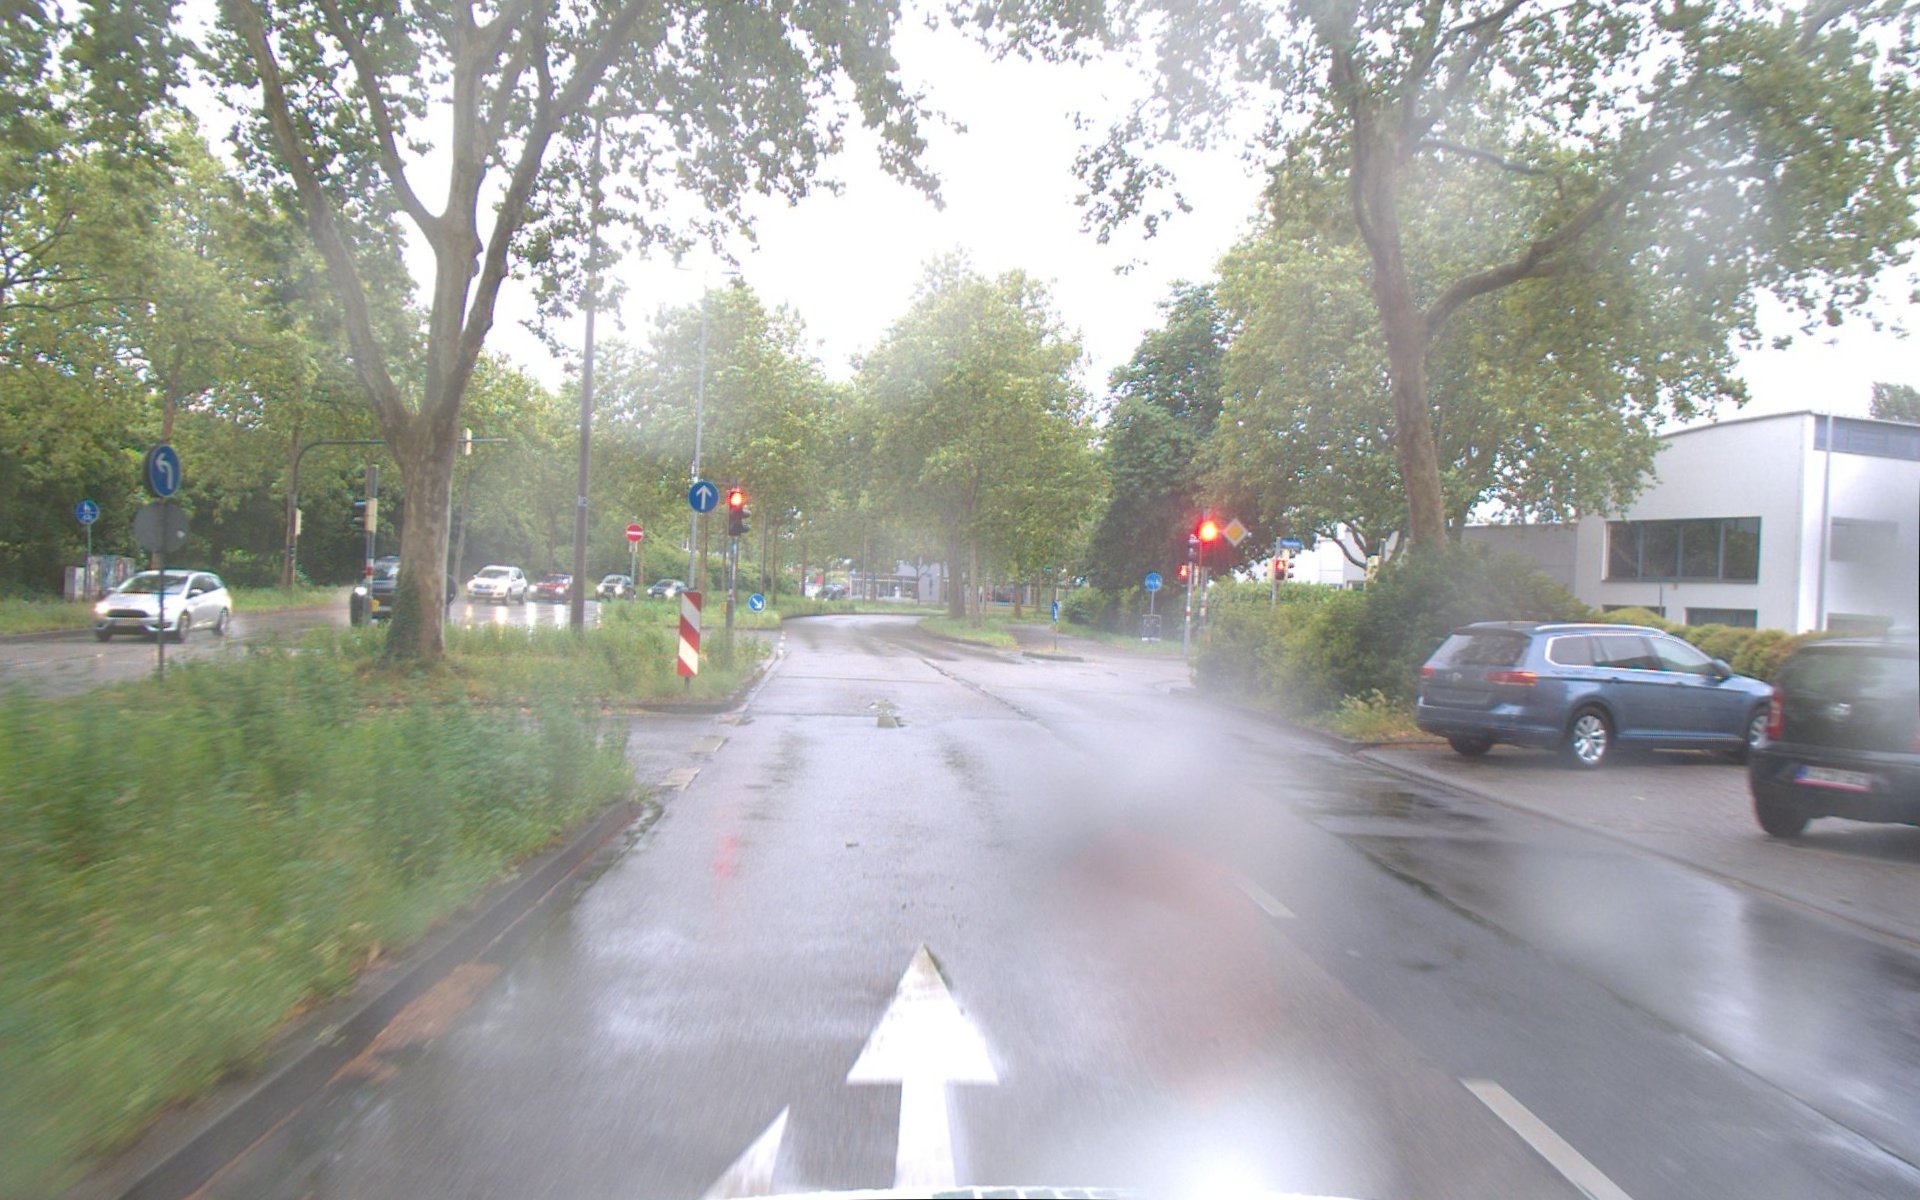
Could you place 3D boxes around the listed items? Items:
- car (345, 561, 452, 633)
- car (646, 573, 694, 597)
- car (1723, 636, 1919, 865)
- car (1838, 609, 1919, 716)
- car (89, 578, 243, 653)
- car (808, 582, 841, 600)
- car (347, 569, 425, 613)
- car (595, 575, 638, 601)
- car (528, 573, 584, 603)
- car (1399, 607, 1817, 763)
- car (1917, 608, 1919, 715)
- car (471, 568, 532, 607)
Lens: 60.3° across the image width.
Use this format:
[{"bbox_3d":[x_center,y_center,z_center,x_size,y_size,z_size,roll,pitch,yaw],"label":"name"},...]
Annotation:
[{"bbox_3d":[-15.837,-0.102,46.935,1.710,1.874,5.114,2,0,-6],"label":"car"},{"bbox_3d":[-18.365,-0.942,104.863,1.553,1.396,4.266,2,0,10],"label":"car"},{"bbox_3d":[7.558,1.053,12.211,3.643,1.441,1.731,2,0,-31],"label":"car"},{"bbox_3d":[18.056,1.135,29.019,4.451,1.788,1.778,2,0,-8],"label":"car"},{"bbox_3d":[-17.454,0.303,36.559,1.710,1.502,4.229,2,0,-7],"label":"car"},{"bbox_3d":[-17.183,-1.118,209.932,3.919,2.049,1.993,3,-1,-14],"label":"car"},{"bbox_3d":[-21.115,-0.342,61.007,1.709,1.502,4.230,2,0,-5],"label":"car"},{"bbox_3d":[-19.837,-0.698,95.638,1.554,1.396,3.335,2,0,4],"label":"car"},{"bbox_3d":[-20.690,-0.601,84.817,1.707,1.432,4.444,2,0,0],"label":"car"},{"bbox_3d":[7.088,0.907,18.008,4.428,1.484,1.734,2,0,-27],"label":"car"},{"bbox_3d":[17.742,1.046,26.010,4.448,1.788,1.747,2,0,-5],"label":"car"},{"bbox_3d":[-20.708,-0.573,74.824,1.709,1.660,4.441,2,0,-3],"label":"car"}]
